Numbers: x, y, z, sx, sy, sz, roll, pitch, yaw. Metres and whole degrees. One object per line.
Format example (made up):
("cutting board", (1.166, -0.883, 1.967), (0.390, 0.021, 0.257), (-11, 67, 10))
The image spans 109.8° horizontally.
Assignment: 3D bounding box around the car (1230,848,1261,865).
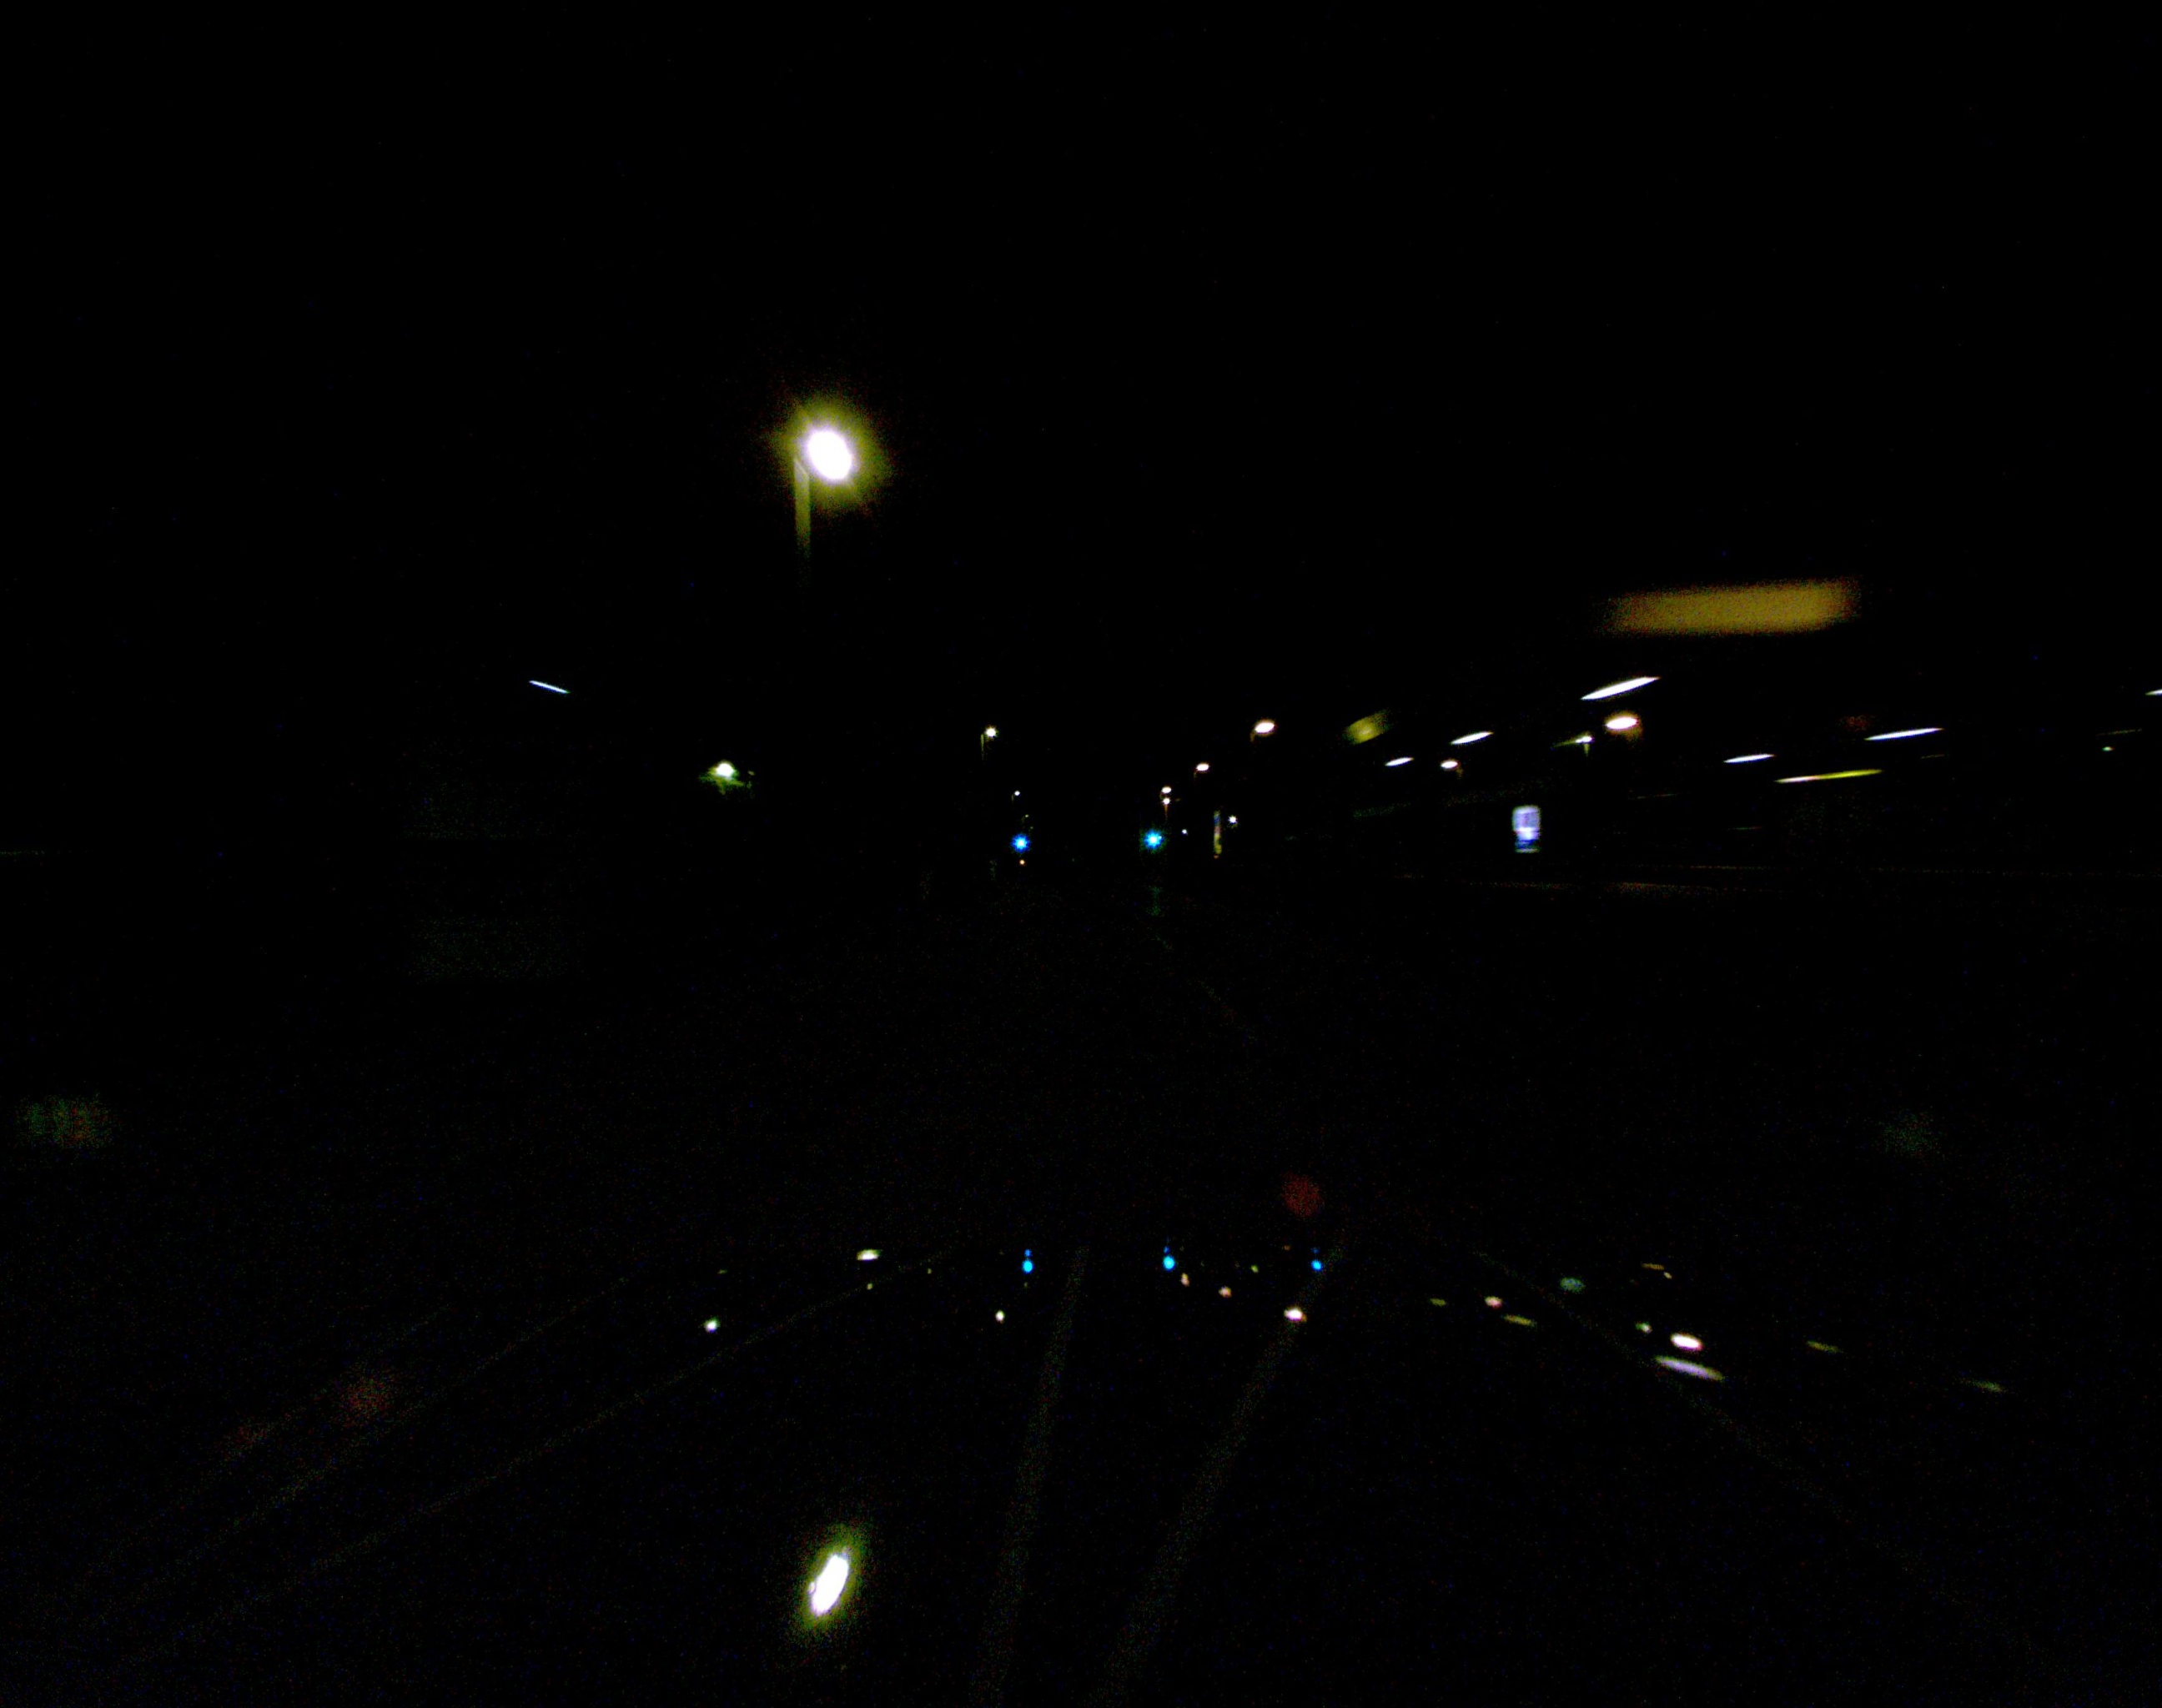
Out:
("car", (15.718, 0.244, 72.856), (1.871, 1.496, 4.093), (0, 0, -4))
